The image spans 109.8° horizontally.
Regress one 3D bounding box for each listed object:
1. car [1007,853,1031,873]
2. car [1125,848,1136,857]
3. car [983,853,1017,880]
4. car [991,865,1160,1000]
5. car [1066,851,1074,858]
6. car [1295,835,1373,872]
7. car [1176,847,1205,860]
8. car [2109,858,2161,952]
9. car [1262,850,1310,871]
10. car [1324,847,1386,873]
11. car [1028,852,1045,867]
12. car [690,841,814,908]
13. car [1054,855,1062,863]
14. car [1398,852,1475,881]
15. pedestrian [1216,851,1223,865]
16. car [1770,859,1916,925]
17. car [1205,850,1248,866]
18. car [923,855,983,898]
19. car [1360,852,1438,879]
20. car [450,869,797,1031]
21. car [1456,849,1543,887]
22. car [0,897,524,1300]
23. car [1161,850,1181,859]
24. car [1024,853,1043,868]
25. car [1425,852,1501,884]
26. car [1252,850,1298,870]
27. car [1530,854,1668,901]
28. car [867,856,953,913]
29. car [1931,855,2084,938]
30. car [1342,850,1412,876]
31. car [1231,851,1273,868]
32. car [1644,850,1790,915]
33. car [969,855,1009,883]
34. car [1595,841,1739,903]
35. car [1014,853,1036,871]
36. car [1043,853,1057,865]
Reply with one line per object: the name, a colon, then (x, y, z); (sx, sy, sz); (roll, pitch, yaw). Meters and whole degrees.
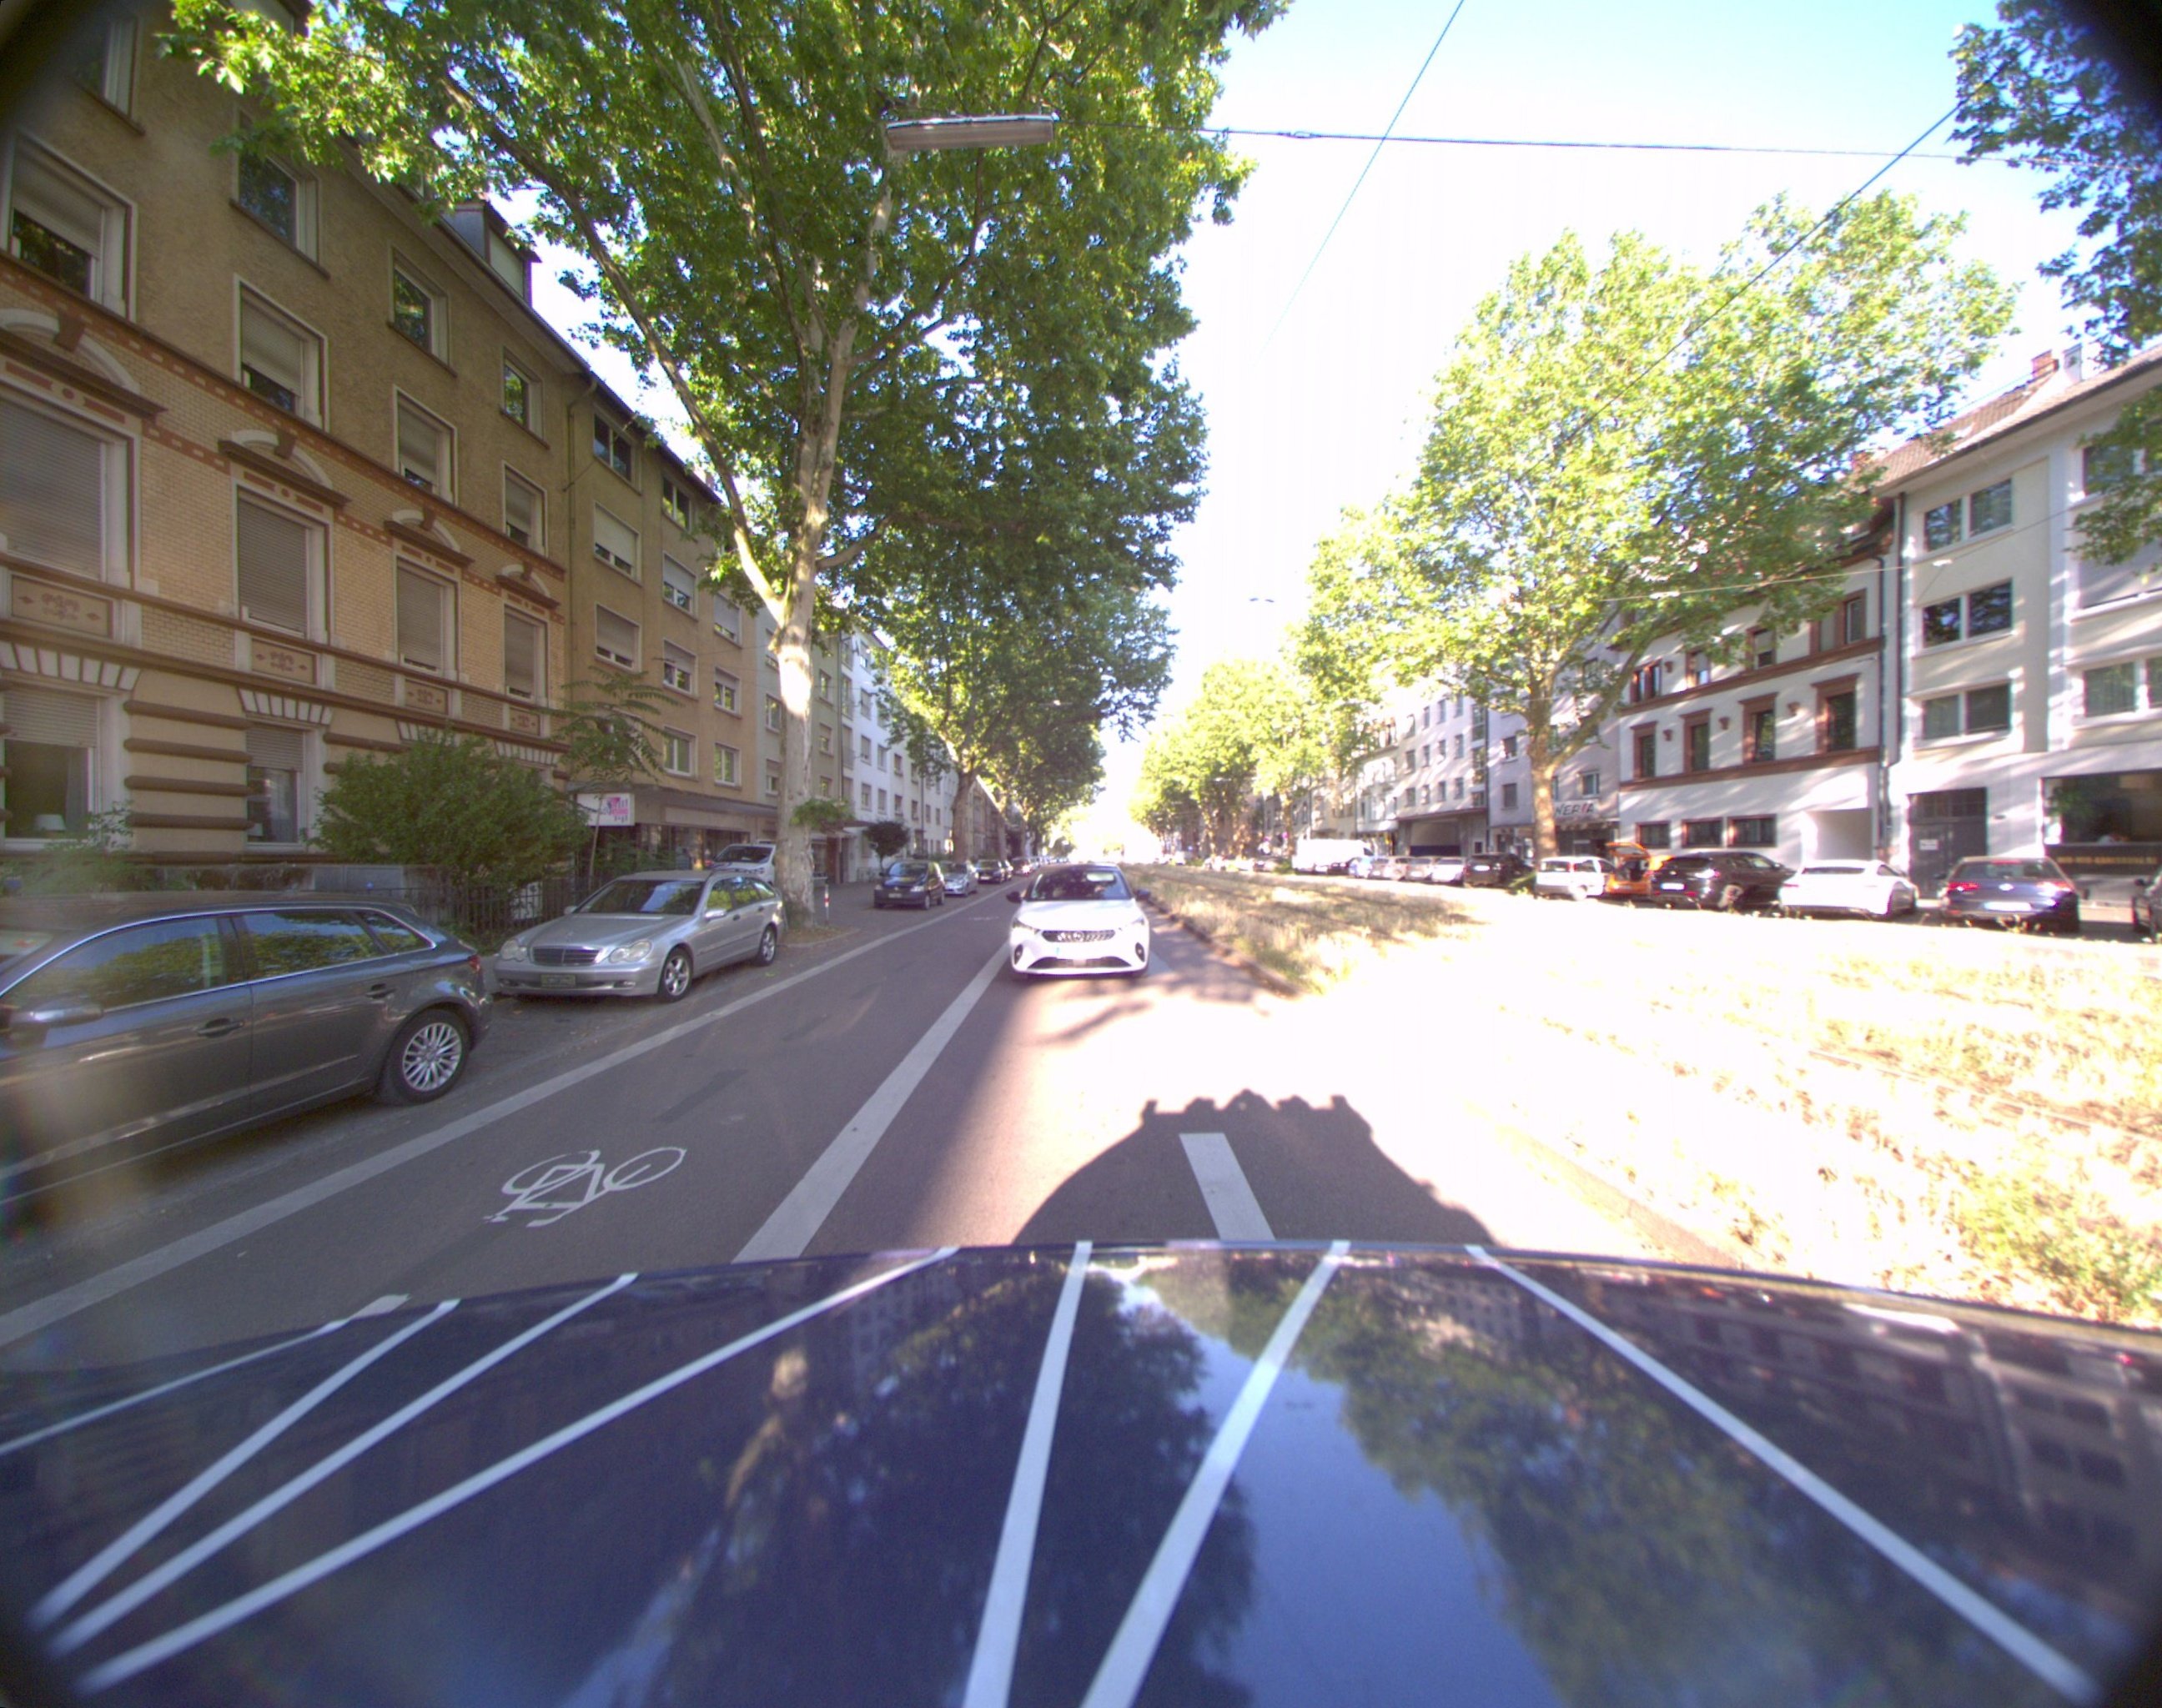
car: (-5.361, 0.781, 66.265); (1.803, 1.599, 4.104); (2, 0, -1)
car: (15.349, -0.492, 236.469); (2.963, 2.407, 6.327); (-2, 1, 1)
car: (-5.386, 0.798, 50.814); (1.803, 1.599, 4.369); (2, 0, -1)
car: (-0.075, 0.914, 10.538); (1.865, 1.394, 3.931); (-2, 0, 0)
car: (-3.084, 0.160, 209.033); (1.998, 2.002, 3.999); (-2, 1, 0)
car: (19.191, -0.039, 57.594); (5.619, 2.684, 2.176); (-1, 1, -24)
car: (18.734, -0.044, 130.032); (4.952, 2.200, 2.096); (-1, 1, -42)
car: (19.004, 0.798, 12.704); (3.979, 1.424, 1.738); (-1, -1, -42)
car: (18.830, 0.568, 69.766); (4.005, 1.805, 1.995); (-1, 1, -27)
car: (19.749, 0.439, 54.765); (4.005, 1.805, 1.995); (-1, 1, -27)
car: (-5.373, 0.692, 92.958); (1.803, 1.742, 4.104); (2, 0, -1)
car: (-10.372, 0.586, 24.388); (1.933, 1.864, 4.677); (2, 0, -1)
car: (-6.960, 1.488, 227.552); (1.998, 2.002, 4.000); (-2, 1, 1)
car: (19.209, 0.642, 40.968); (4.265, 1.449, 1.902); (-1, 1, -36)
pedestrian: (15.048, 0.417, 82.508); (0.620, 1.588, 0.422); (0, 1, 1)
car: (18.561, 0.823, 18.452); (4.266, 1.369, 2.147); (-1, 0, -40)
car: (15.974, 0.456, 83.410); (4.234, 1.696, 1.999); (0, 0, -4)
car: (-5.337, 0.899, 32.259); (1.803, 1.599, 4.369); (2, 0, -1)
car: (18.881, 0.656, 45.164); (4.004, 1.509, 1.996); (-1, 0, -20)
car: (-5.382, 1.003, 9.793); (1.803, 1.446, 4.511); (2, 0, -1)
car: (18.935, 0.572, 34.290); (4.266, 1.605, 1.902); (-1, 1, -38)
car: (-5.199, 1.060, 3.627); (1.802, 1.393, 4.370); (2, 0, 1)
car: (18.191, 0.011, 153.762); (3.994, 1.802, 1.874); (0, 1, 10)
car: (-5.381, 0.732, 86.625); (1.803, 1.599, 4.104); (2, 0, -1)
car: (18.974, 0.664, 37.691); (4.265, 1.451, 1.598); (-1, 1, -36)
car: (18.653, 0.559, 73.038); (4.005, 1.805, 1.995); (-1, 1, -27)
car: (18.141, 0.778, 26.653); (4.260, 1.548, 1.641); (0, 1, -15)
car: (-5.405, 0.892, 24.553); (1.803, 1.599, 4.369); (2, 0, -1)
car: (19.304, 0.787, 15.998); (3.979, 1.495, 1.827); (-1, 1, -42)
car: (18.792, 0.542, 48.291); (4.005, 1.608, 1.995); (-1, 1, -27)
car: (18.361, 0.559, 81.555); (4.005, 1.696, 1.995); (-1, 1, -27)
car: (18.224, 0.728, 21.736); (4.265, 1.674, 2.147); (-1, 1, -34)
car: (-5.462, 0.853, 45.586); (1.803, 1.494, 4.369); (2, 0, -1)
car: (19.409, 0.552, 25.205); (4.260, 1.932, 1.514); (0, 1, -15)
car: (-5.428, 0.765, 73.441); (1.803, 1.599, 4.104); (2, 0, -1)
car: (-4.504, 0.696, 110.135); (1.803, 1.598, 3.702); (2, 0, -1)
